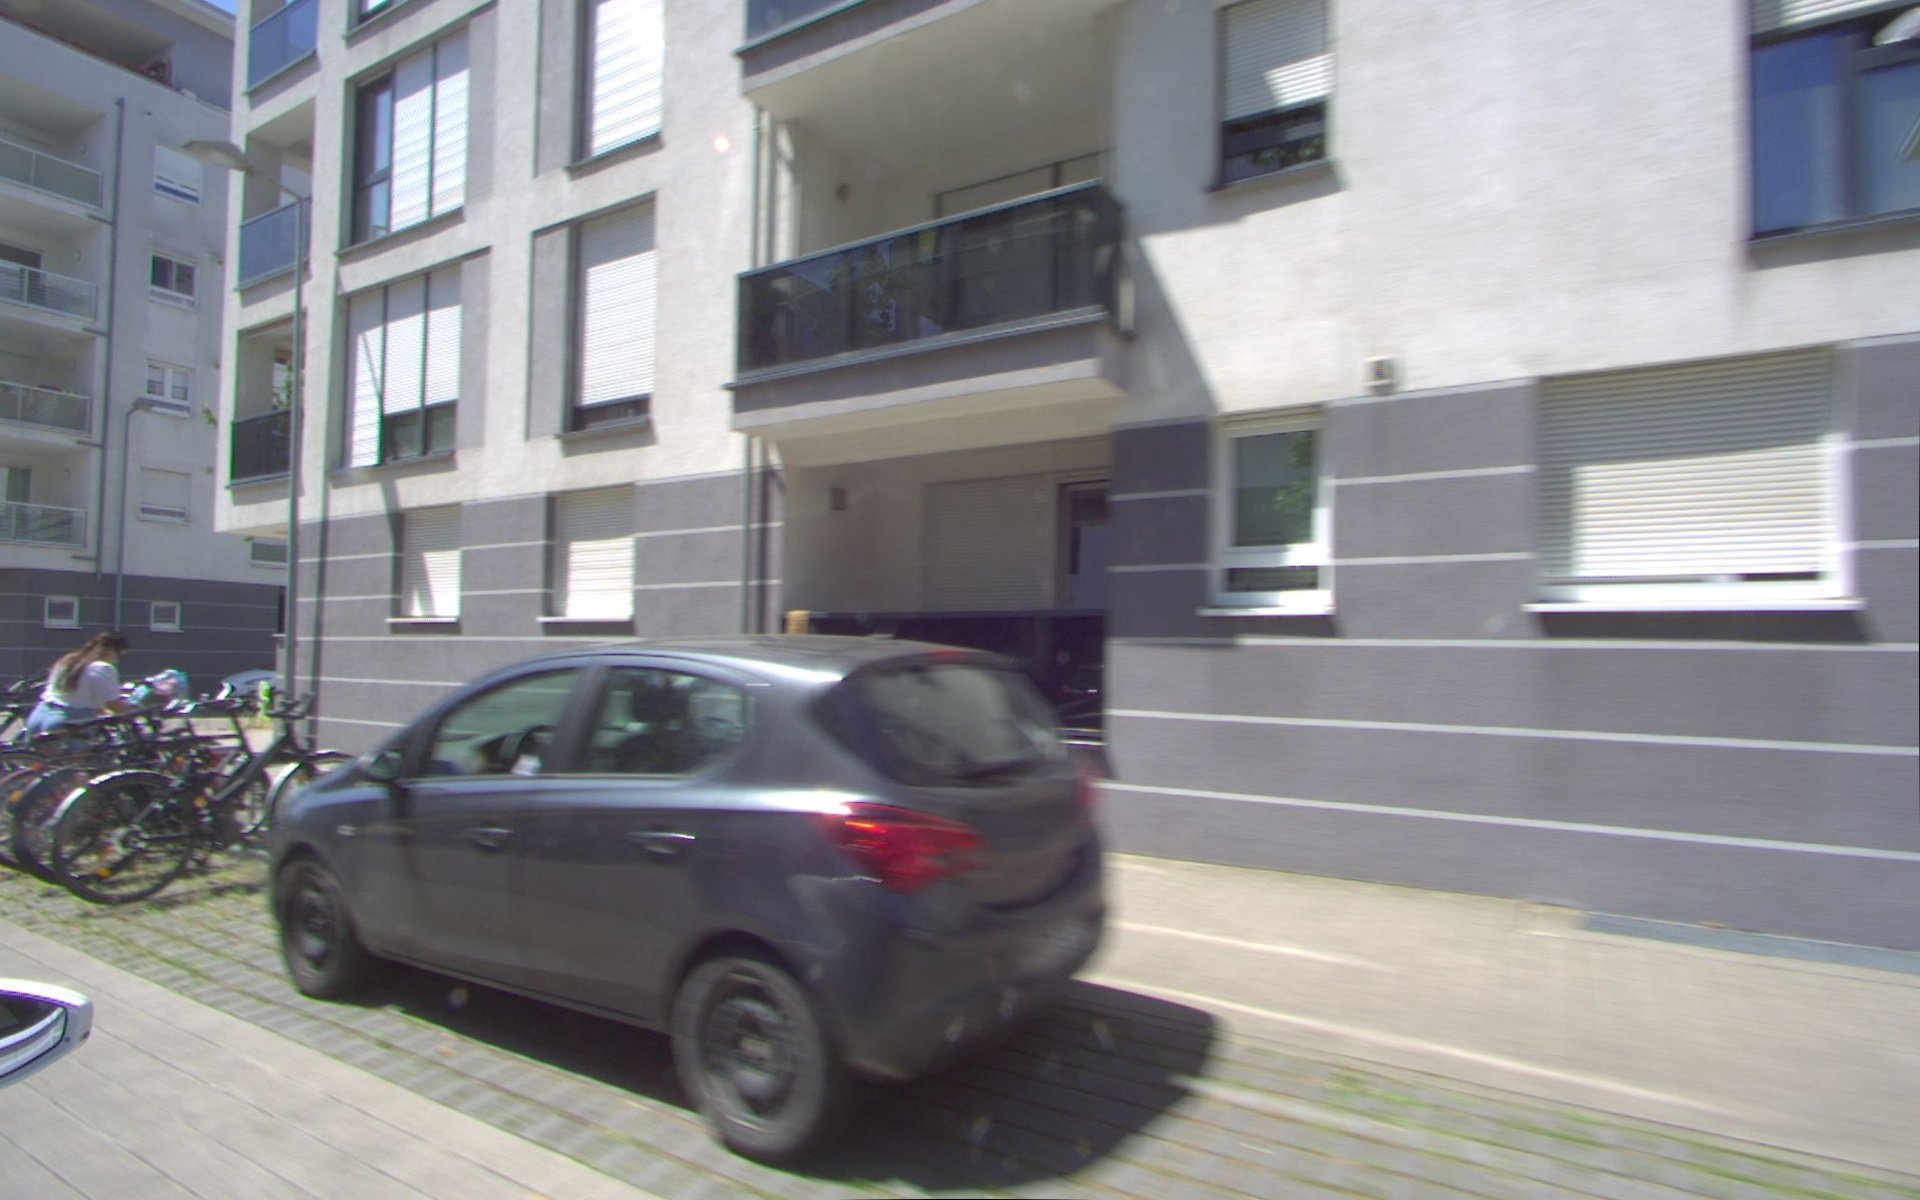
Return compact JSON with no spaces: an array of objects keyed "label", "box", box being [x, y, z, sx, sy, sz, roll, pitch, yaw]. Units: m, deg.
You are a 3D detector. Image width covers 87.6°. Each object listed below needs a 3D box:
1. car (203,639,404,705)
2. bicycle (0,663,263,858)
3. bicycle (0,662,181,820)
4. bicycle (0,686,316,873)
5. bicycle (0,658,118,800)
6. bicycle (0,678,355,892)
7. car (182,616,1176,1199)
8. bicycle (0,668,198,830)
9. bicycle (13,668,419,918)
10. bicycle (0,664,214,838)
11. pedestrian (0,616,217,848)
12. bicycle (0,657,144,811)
[{"label":"car","box":[-16.976,1.861,26.105,1.729,1.488,3.985,2,-2,30]},{"label":"bicycle","box":[-6.192,1.094,7.255,0.453,1.233,1.926,0,-2,22]},{"label":"bicycle","box":[-7.517,1.109,8.025,0.631,1.194,1.915,-1,-2,40]},{"label":"bicycle","box":[-5.621,1.161,6.938,0.550,1.048,1.923,0,-2,28]},{"label":"bicycle","box":[-8.670,1.127,8.769,0.678,1.208,1.855,-1,-2,34]},{"label":"bicycle","box":[-5.066,1.102,6.534,0.735,1.118,1.786,0,-2,28]},{"label":"car","box":[-1.373,0.852,4.279,4.168,1.504,1.736,-1,-2,32]},{"label":"bicycle","box":[-7.062,1.111,7.625,0.602,1.147,1.915,-1,-2,40]},{"label":"bicycle","box":[-4.436,1.058,6.155,0.704,1.233,1.869,0,-2,28]},{"label":"bicycle","box":[-6.687,1.085,7.549,0.452,1.163,1.839,0,-2,13]},{"label":"pedestrian","box":[-6.295,0.901,7.328,0.676,1.534,1.180,0,-2,22]},{"label":"bicycle","box":[-8.019,1.111,8.492,0.697,1.233,1.549,-1,-2,30]}]
